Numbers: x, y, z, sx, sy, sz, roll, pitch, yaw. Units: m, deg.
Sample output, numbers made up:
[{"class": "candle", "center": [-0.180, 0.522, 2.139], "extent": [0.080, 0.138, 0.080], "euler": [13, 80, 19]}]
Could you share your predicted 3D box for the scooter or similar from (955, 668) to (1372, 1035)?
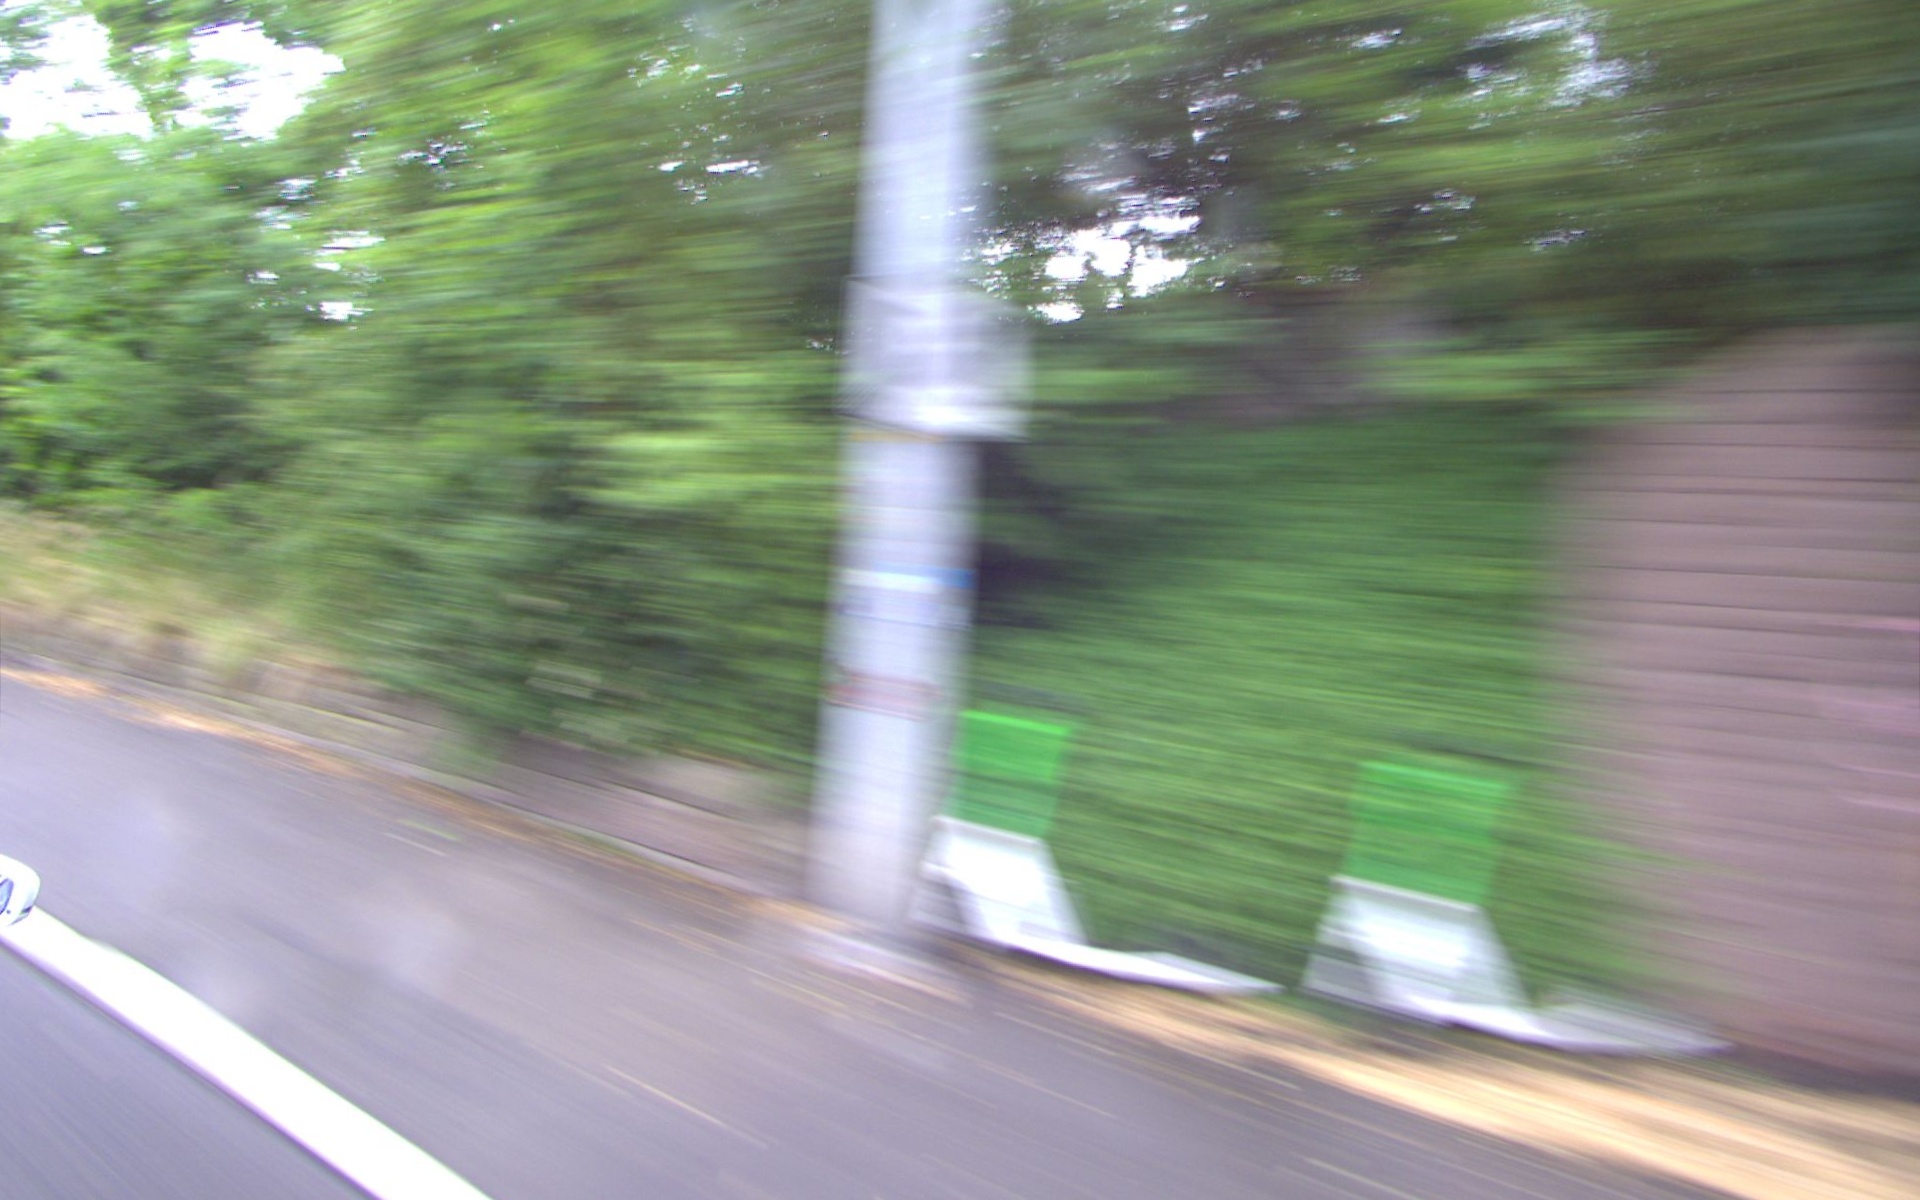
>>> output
[{"class": "scooter or similar", "center": [0.754, 0.925, 3.892], "extent": [1.395, 1.132, 0.347], "euler": [7, 3, 10]}]

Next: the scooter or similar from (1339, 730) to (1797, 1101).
[{"class": "scooter or similar", "center": [2.188, 1.123, 3.671], "extent": [1.396, 1.130, 0.347], "euler": [6, -1, -2]}]
